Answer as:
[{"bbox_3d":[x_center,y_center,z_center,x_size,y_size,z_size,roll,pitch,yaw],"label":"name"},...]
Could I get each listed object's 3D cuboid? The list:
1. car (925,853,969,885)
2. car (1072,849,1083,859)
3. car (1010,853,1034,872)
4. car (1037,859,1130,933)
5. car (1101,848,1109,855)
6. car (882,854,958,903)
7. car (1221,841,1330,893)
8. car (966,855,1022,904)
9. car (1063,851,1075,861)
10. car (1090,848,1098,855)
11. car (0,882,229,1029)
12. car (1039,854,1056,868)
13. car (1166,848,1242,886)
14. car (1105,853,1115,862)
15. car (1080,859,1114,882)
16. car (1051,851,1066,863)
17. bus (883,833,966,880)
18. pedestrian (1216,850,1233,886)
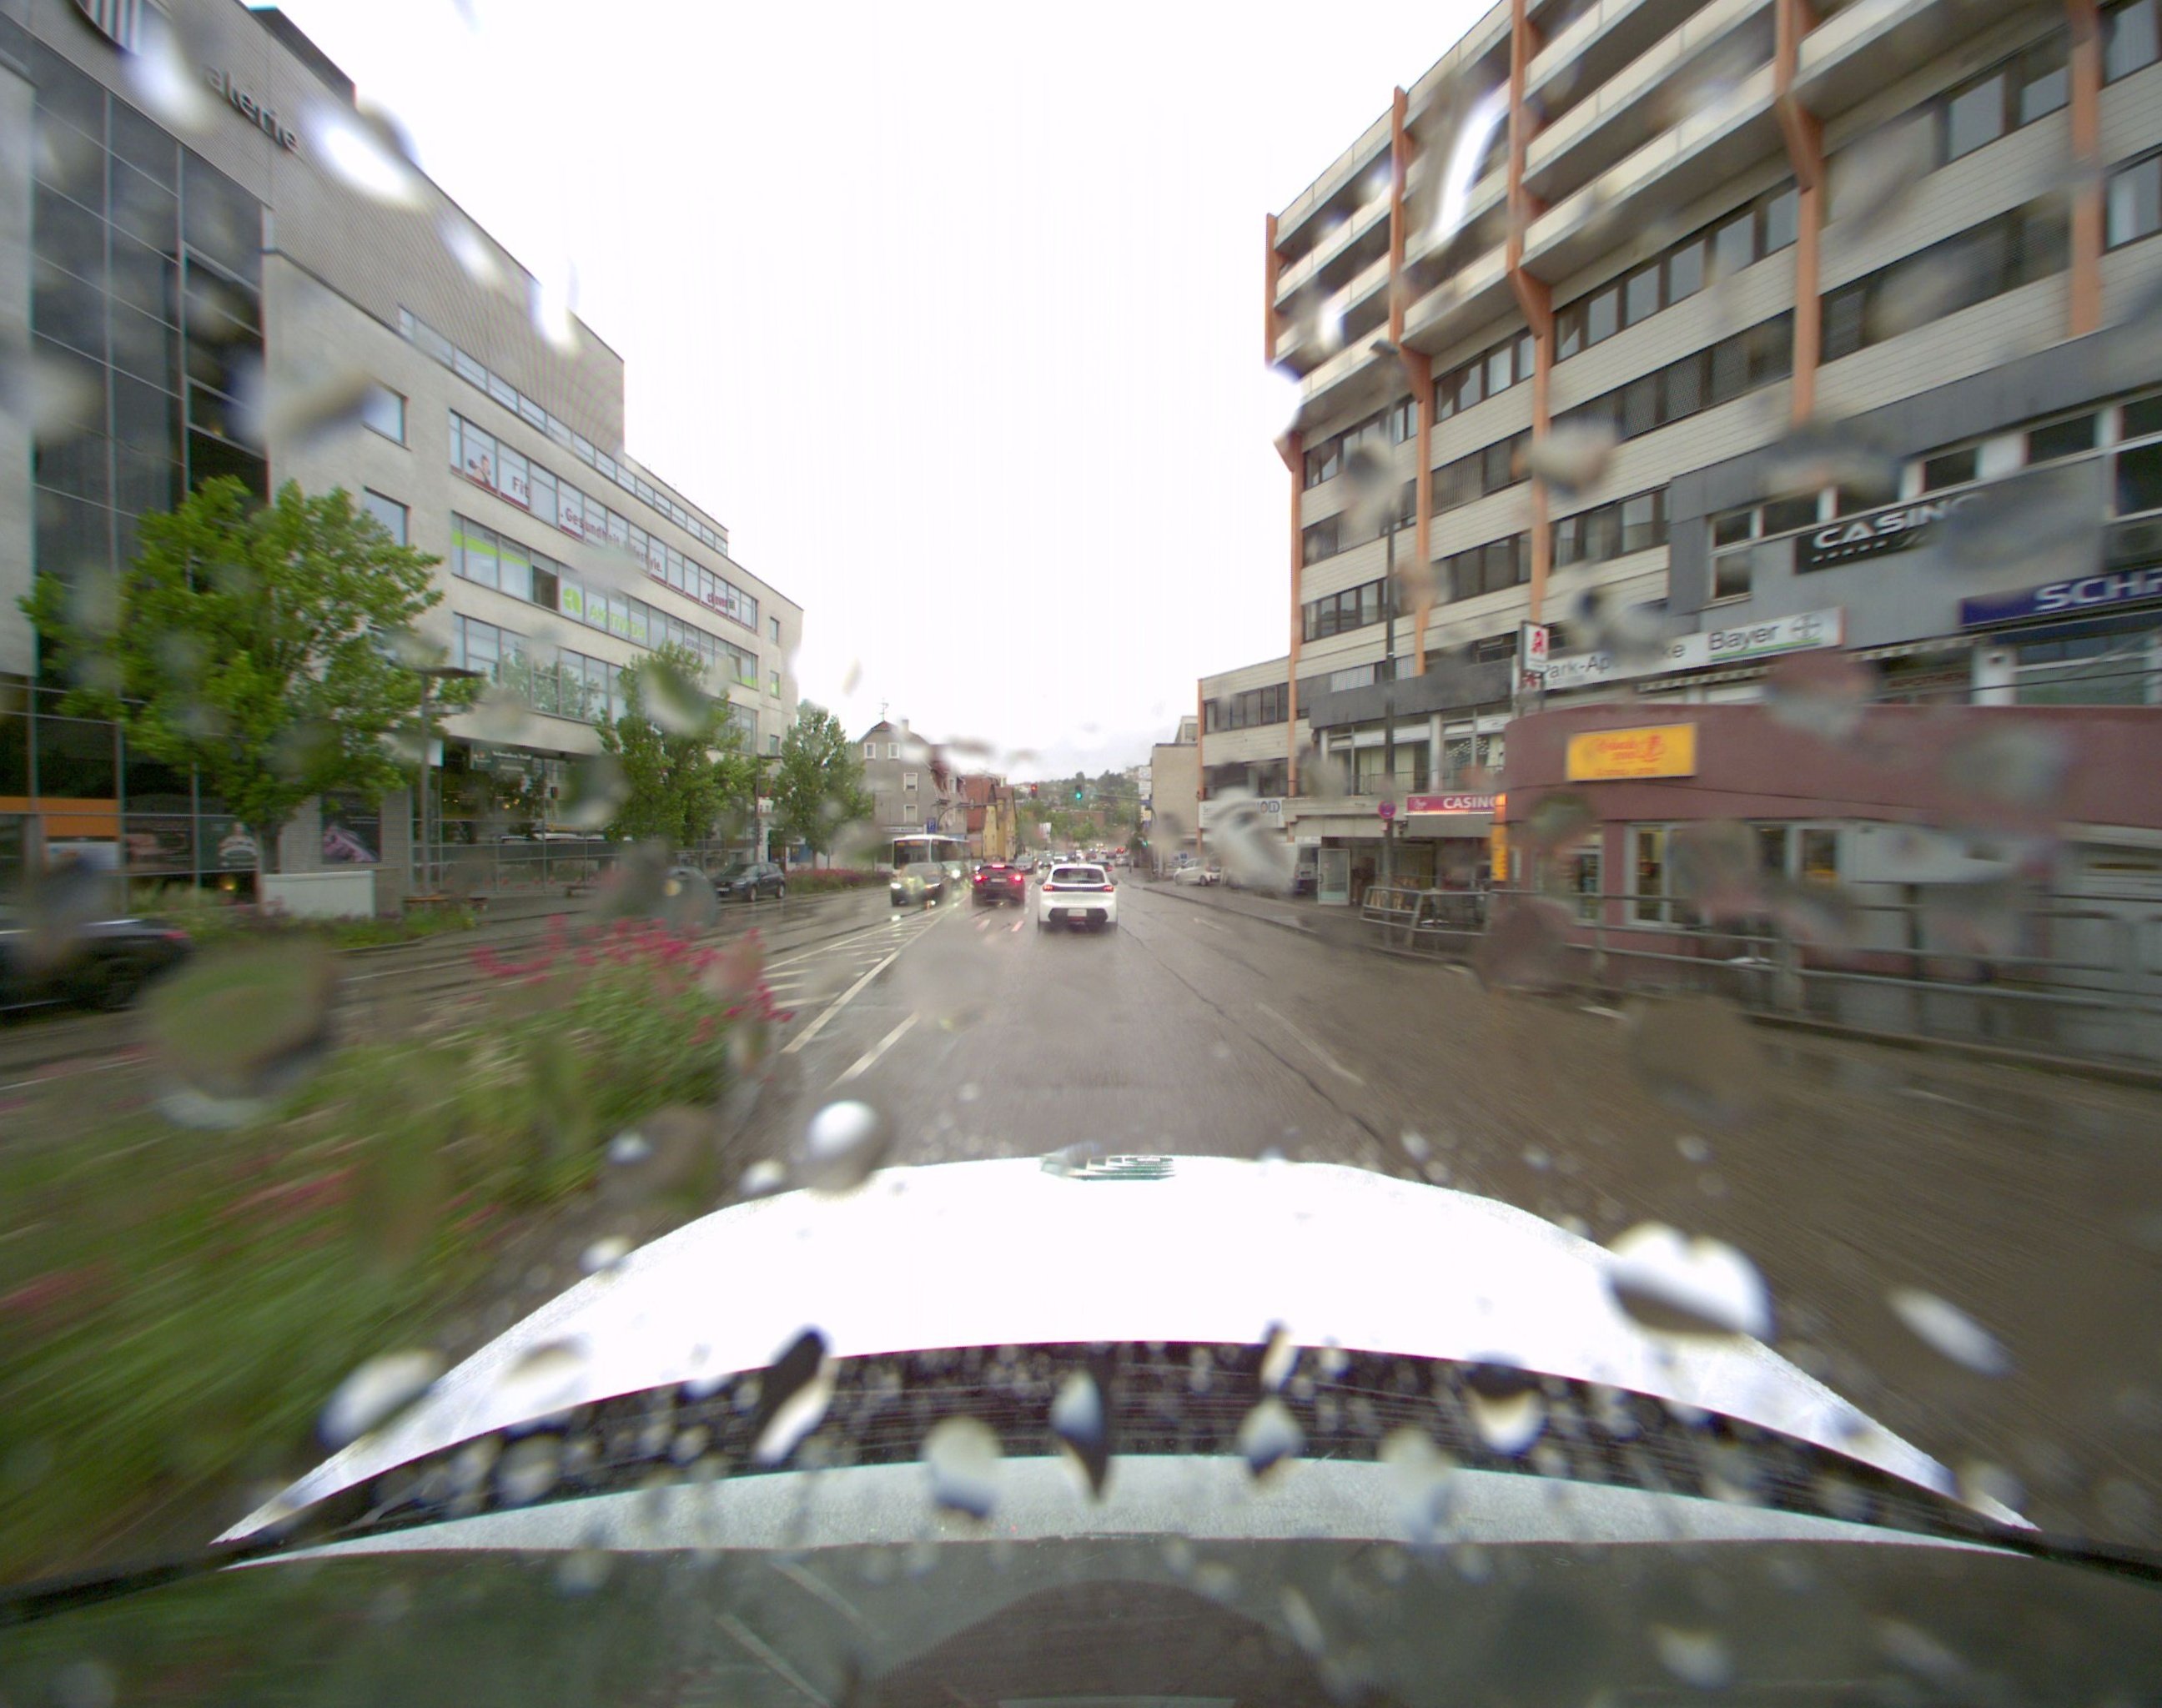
[{"bbox_3d":[-7.023,0.750,43.058,1.811,1.555,3.996,-1,1,-3],"label":"car"},{"bbox_3d":[-0.657,-0.047,150.477,1.778,1.683,4.005,1,1,4],"label":"car"},{"bbox_3d":[-5.267,0.778,73.664,1.739,1.555,4.002,-1,1,1],"label":"car"},{"bbox_3d":[0.075,0.873,18.539,1.865,1.462,3.873,1,-1,1],"label":"car"},{"bbox_3d":[5.793,-0.536,197.965,1.739,1.555,4.002,-1,1,1],"label":"car"},{"bbox_3d":[-5.753,0.819,29.580,1.886,1.555,4.001,-1,1,1],"label":"car"},{"bbox_3d":[9.018,0.533,38.112,2.008,2.226,4.924,-1,1,-33],"label":"car"},{"bbox_3d":[-2.990,0.849,28.689,1.812,1.529,3.807,0,1,-4],"label":"car"},{"bbox_3d":[-1.866,0.285,128.677,1.739,1.555,4.002,-1,1,1],"label":"car"},{"bbox_3d":[3.270,-0.686,205.438,1.739,1.555,4.002,-1,1,1],"label":"car"},{"bbox_3d":[-11.691,1.078,7.976,1.719,1.388,4.602,-1,0,2],"label":"car"},{"bbox_3d":[-3.935,0.797,95.778,1.739,1.555,4.002,-1,1,1],"label":"car"},{"bbox_3d":[6.496,0.629,43.431,1.896,1.878,4.096,-1,1,-29],"label":"car"},{"bbox_3d":[5.408,0.702,151.735,1.739,1.555,4.002,-1,1,1],"label":"car"},{"bbox_3d":[1.017,1.057,53.200,1.908,1.400,3.453,0,1,-4],"label":"car"},{"bbox_3d":[-3.095,0.443,112.156,1.739,1.555,4.002,-1,1,1],"label":"car"},{"bbox_3d":[-10.005,0.070,53.174,2.926,2.783,9.515,-1,1,4],"label":"bus"},{"bbox_3d":[7.359,0.697,41.802,0.644,1.822,0.577,-1,0,-30],"label":"pedestrian"}]
